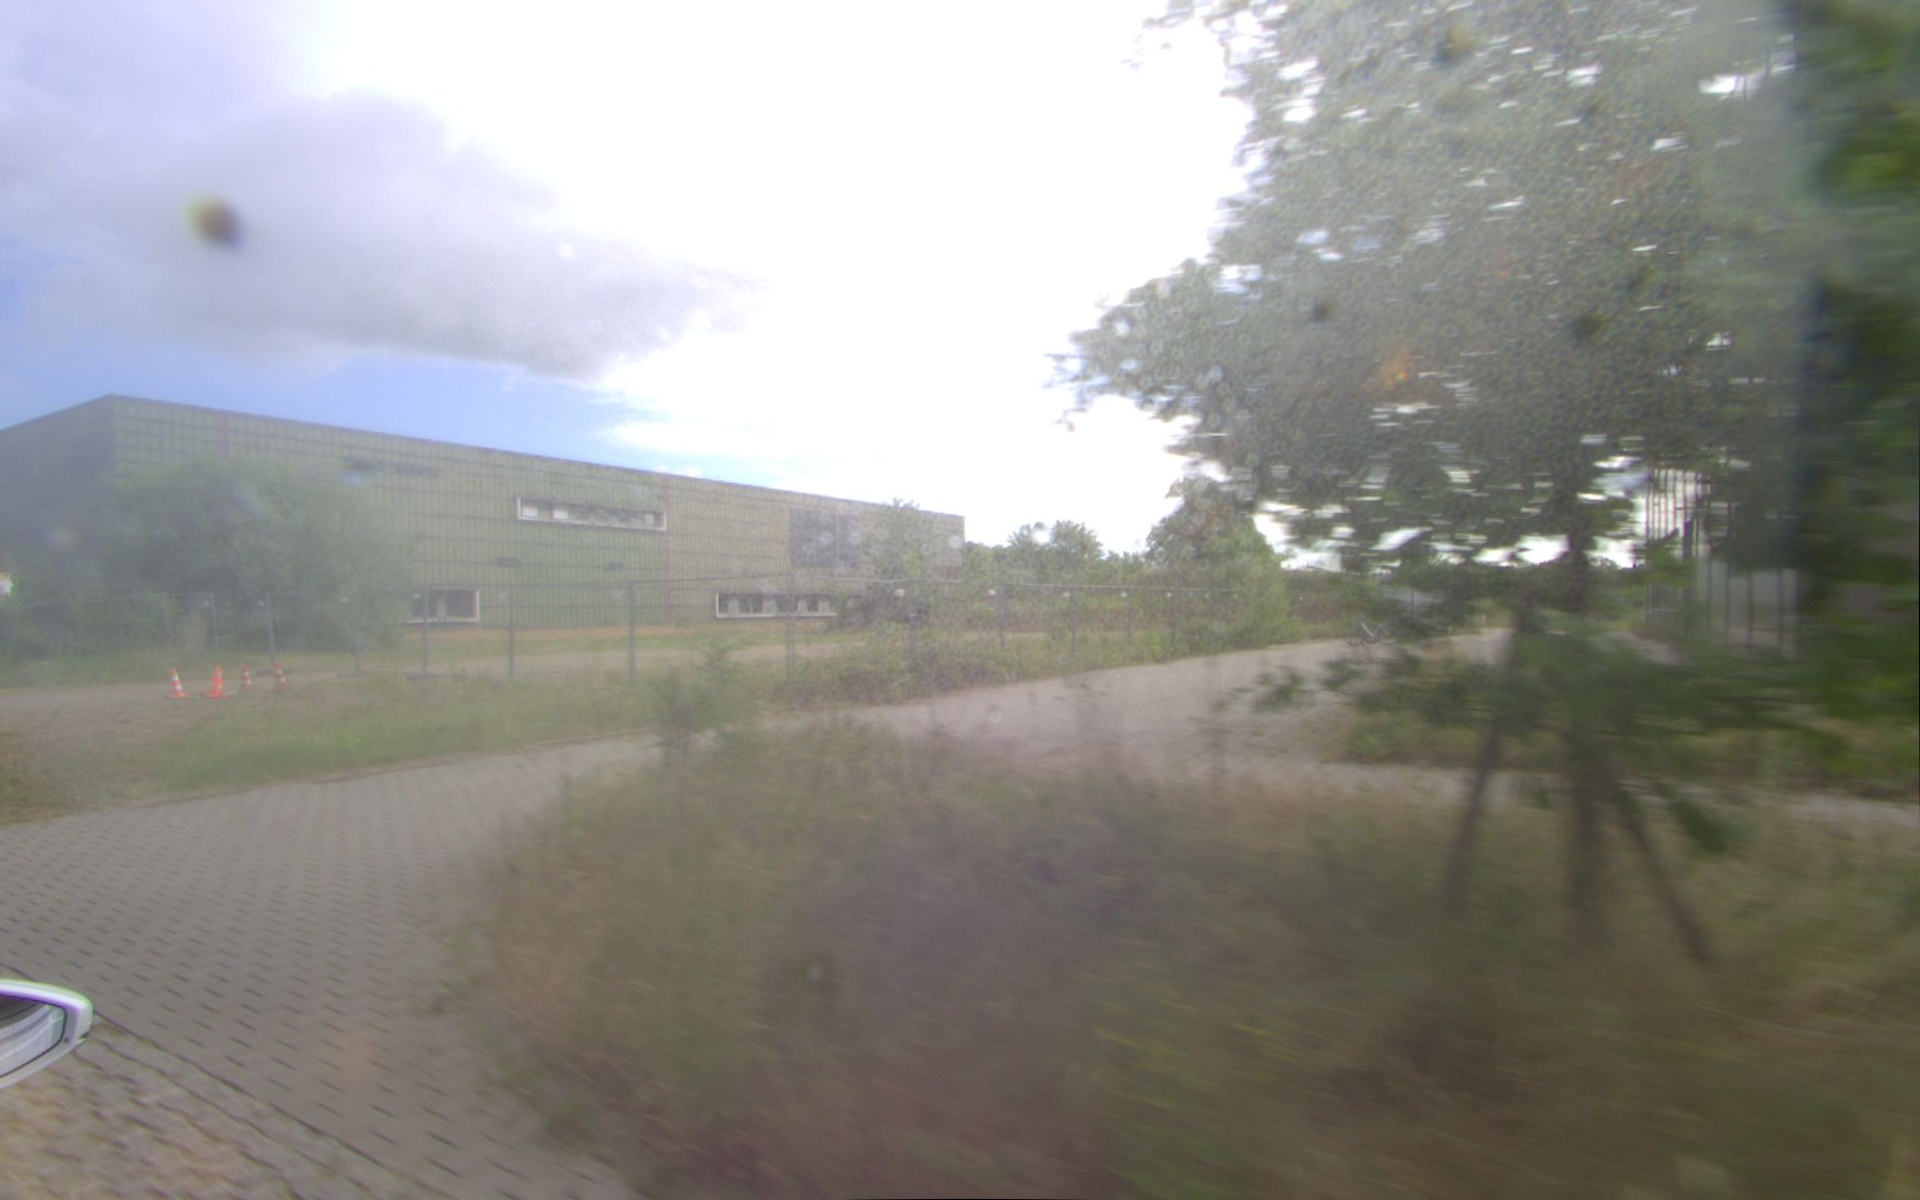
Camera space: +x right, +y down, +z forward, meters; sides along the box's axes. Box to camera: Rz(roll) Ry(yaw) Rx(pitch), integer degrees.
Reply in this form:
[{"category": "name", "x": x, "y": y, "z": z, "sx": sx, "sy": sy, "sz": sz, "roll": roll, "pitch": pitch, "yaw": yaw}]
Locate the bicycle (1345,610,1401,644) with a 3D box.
[{"category": "bicycle", "x": 13.422, "y": 0.868, "z": 32.563, "sx": 1.638, "sy": 1.100, "sz": 0.508, "roll": -1, "pitch": 0, "yaw": 42}]
